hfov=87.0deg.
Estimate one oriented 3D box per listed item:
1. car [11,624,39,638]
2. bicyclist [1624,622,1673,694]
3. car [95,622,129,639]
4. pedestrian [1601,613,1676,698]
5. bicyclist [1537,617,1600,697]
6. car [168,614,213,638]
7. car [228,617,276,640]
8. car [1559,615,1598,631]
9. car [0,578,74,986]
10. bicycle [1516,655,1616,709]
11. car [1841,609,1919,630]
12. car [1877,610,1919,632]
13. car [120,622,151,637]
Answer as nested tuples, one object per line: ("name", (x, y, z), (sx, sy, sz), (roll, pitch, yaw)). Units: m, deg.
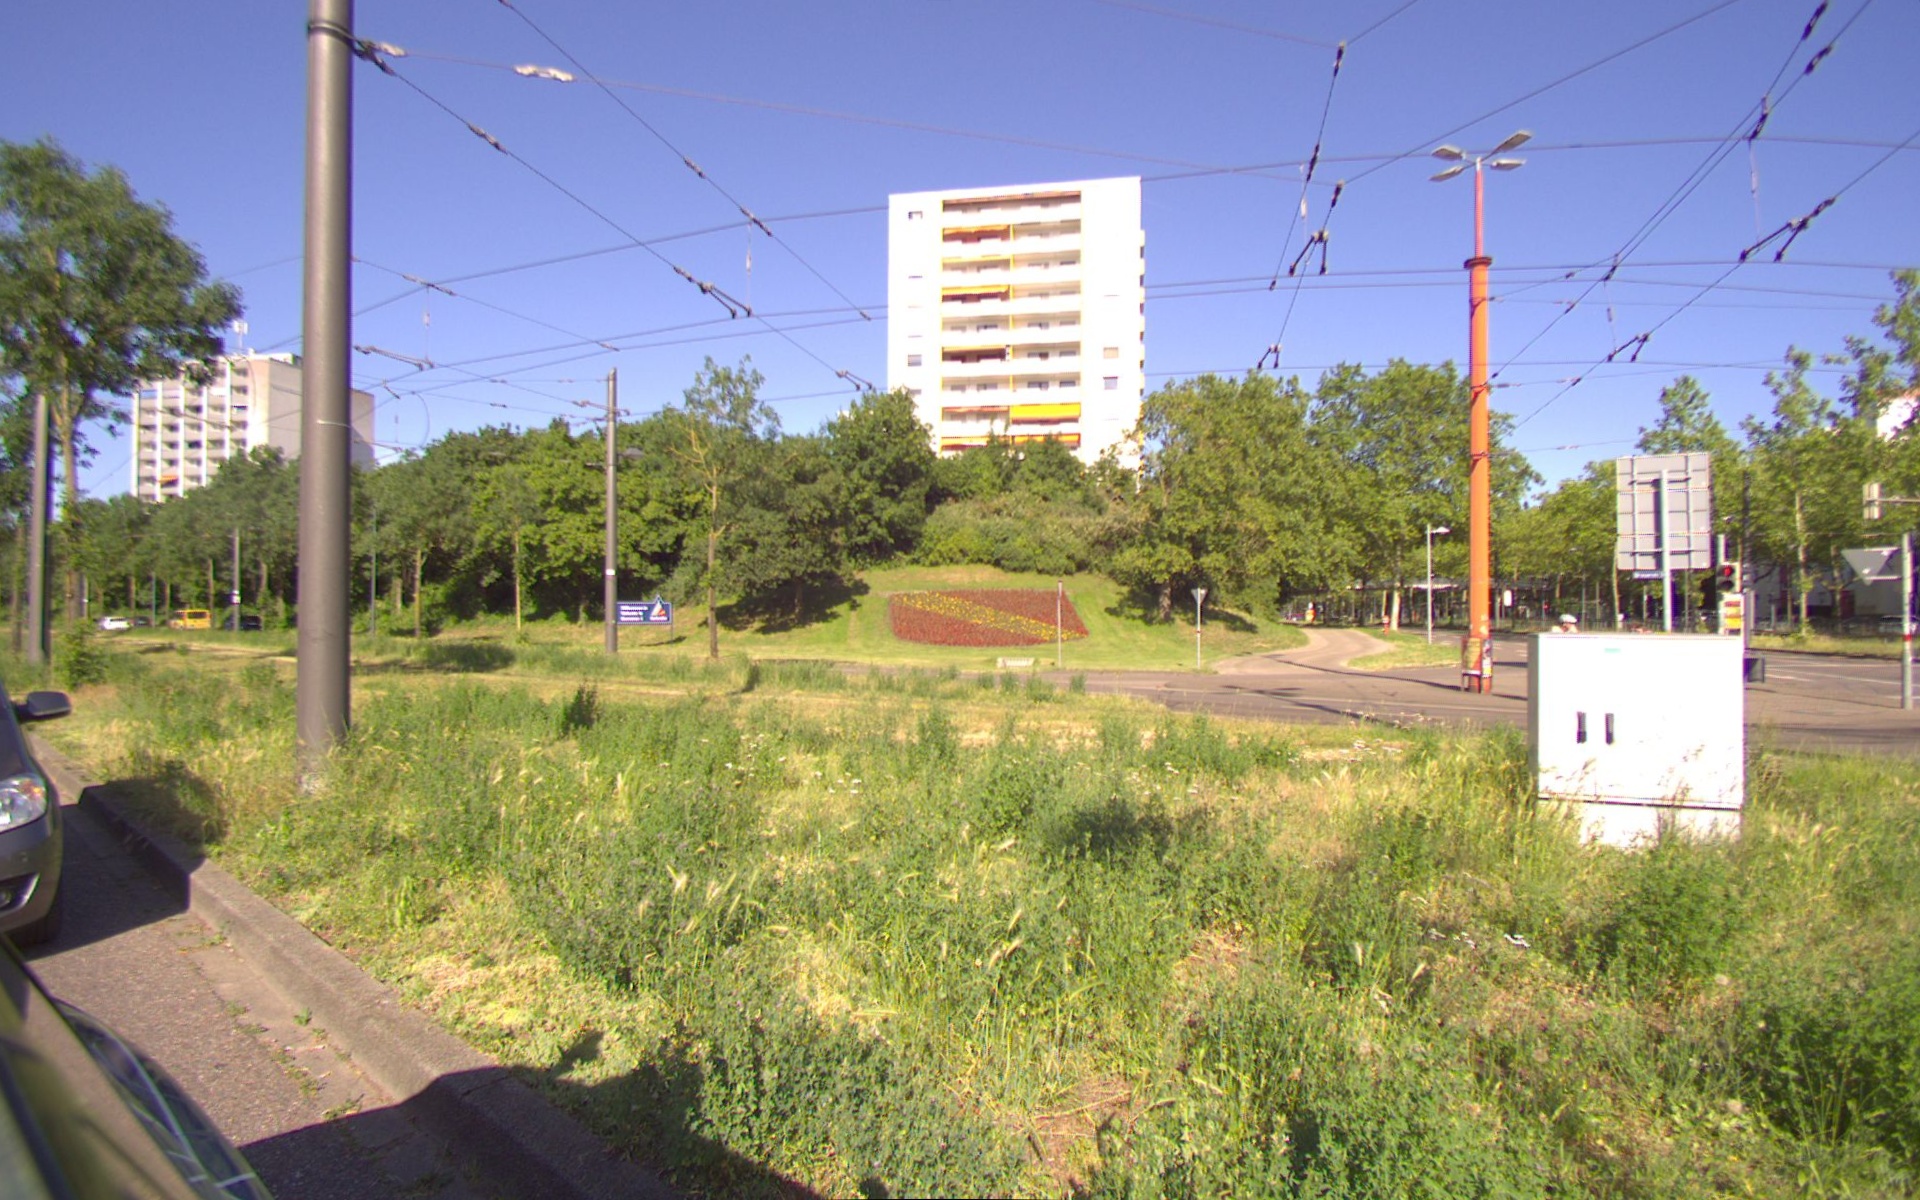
("car", (-97.396, 3.195, 105.442), (4.310, 1.427, 1.775), (-1, -2, 43))
("bicyclist", (13.420, 1.120, 19.745), (0.435, 1.391, 0.631), (0, -2, -20))
("car", (-72.767, 2.587, 86.823), (4.020, 1.418, 1.671), (-2, -2, 42))
("pedestrian", (14.780, 1.195, 22.070), (0.942, 1.807, 0.987), (0, -1, 4))
("bicyclist", (12.161, 1.122, 20.244), (0.719, 1.557, 0.770), (0, -2, -20))
("car", (-63.342, 2.134, 83.262), (4.905, 1.981, 1.973), (-1, -2, 41))
("car", (-52.186, 2.087, 74.608), (4.105, 1.586, 1.973), (-1, -2, 41))
("car", (79.725, 3.010, 130.489), (3.969, 2.029, 1.987), (-1, -1, 20))
("car", (-5.737, 0.750, 4.848), (3.879, 1.634, 1.737), (-1, -2, 41))
("bicycle", (12.127, 1.623, 20.308), (0.673, 0.968, 1.650), (0, -1, -20))
("car", (65.873, 1.389, 72.388), (1.770, 1.420, 4.010), (1, -1, -36))
("car", (64.885, 1.410, 68.406), (1.770, 1.420, 4.010), (1, -1, -36))
("car", (-76.567, 2.747, 93.990), (4.000, 1.386, 1.756), (-1, -2, 43))
